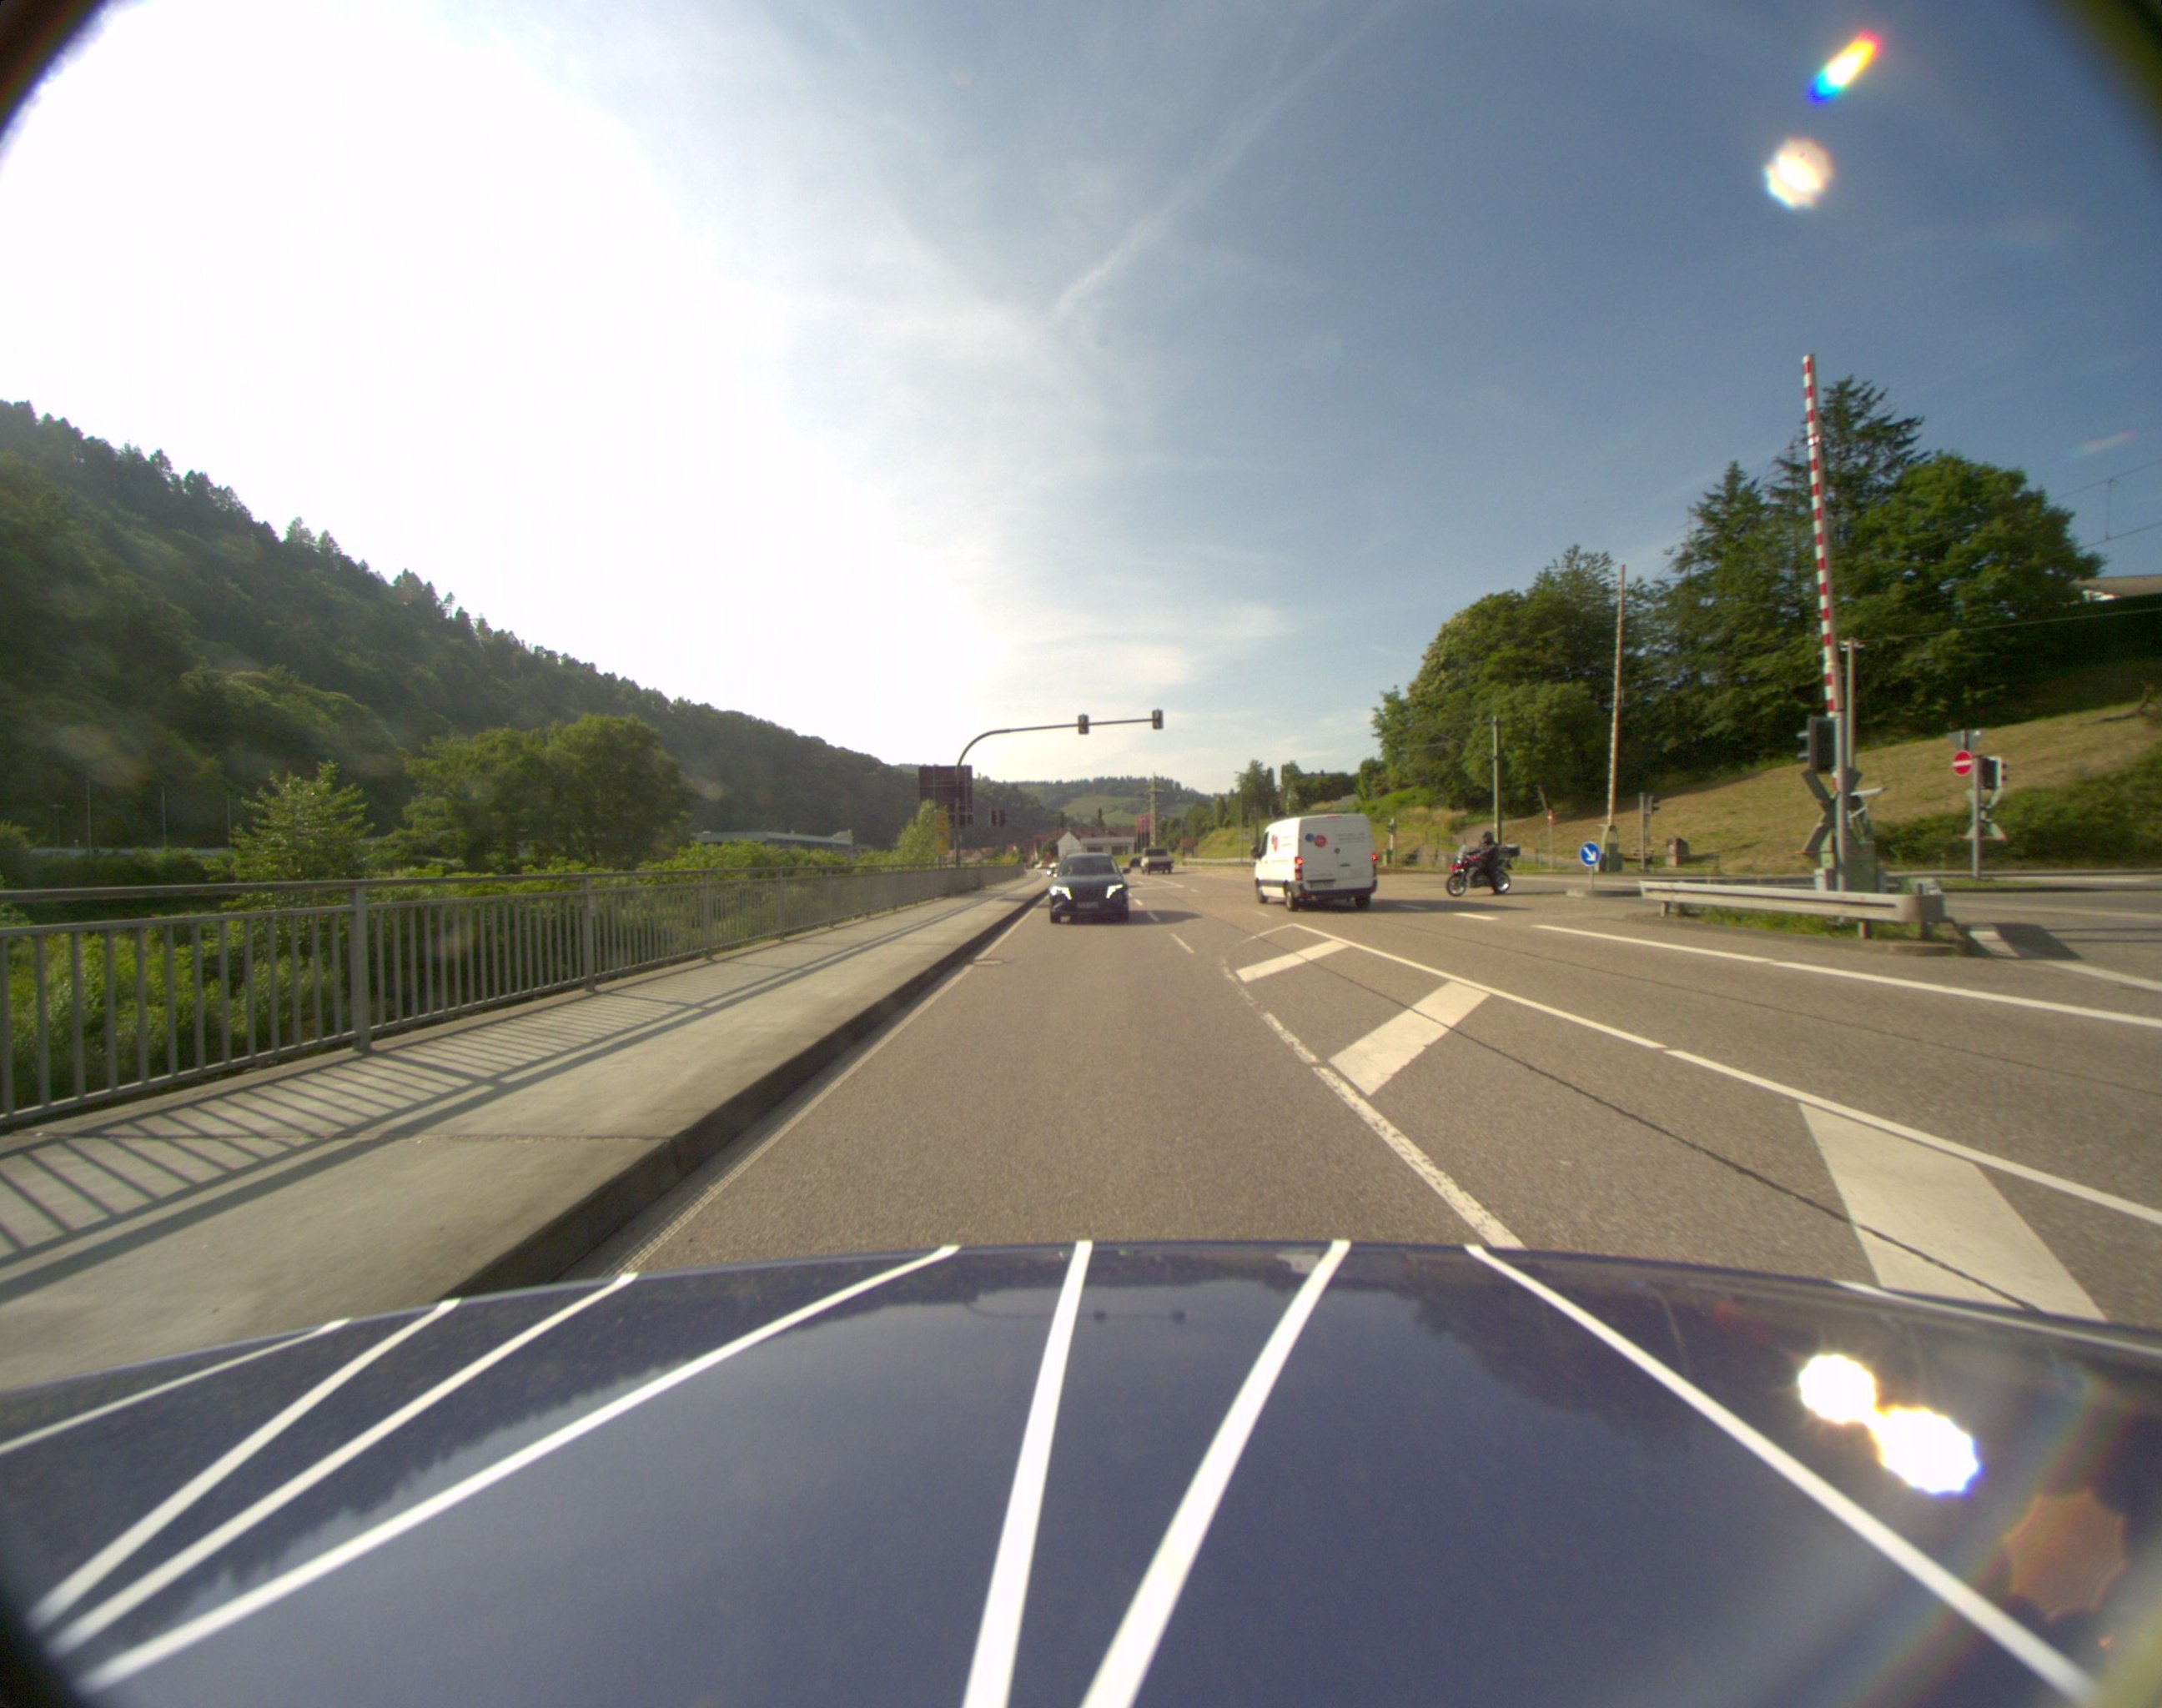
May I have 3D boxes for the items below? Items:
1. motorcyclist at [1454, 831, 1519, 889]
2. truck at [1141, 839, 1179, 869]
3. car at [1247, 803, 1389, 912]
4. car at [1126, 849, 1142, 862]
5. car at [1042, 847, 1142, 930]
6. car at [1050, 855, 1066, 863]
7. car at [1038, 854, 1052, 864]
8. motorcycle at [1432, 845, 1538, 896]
[{"bbox_3d":[11.394,0.162,21.386,1.186,1.535,0.990,-4,1,-14],"label":"motorcyclist"},{"bbox_3d":[6.483,-0.039,62.915,2.453,2.253,6.280,-3,0,1],"label":"truck"},{"bbox_3d":[6.054,0.078,20.193,2.125,2.422,5.227,-2,0,1],"label":"car"},{"bbox_3d":[6.586,0.139,94.870,1.691,1.477,3.999,-3,0,-1],"label":"car"},{"bbox_3d":[0.278,0.693,18.508,1.998,1.661,5.510,-2,1,1],"label":"car"},{"bbox_3d":[-4.433,0.980,147.023,2.001,1.434,3.994,-4,1,-18],"label":"car"},{"bbox_3d":[-7.601,1.000,158.949,2.001,2.002,3.994,-4,1,-16],"label":"car"},{"bbox_3d":[11.350,0.454,21.373,2.594,1.261,1.004,-3,1,-14],"label":"motorcycle"}]
